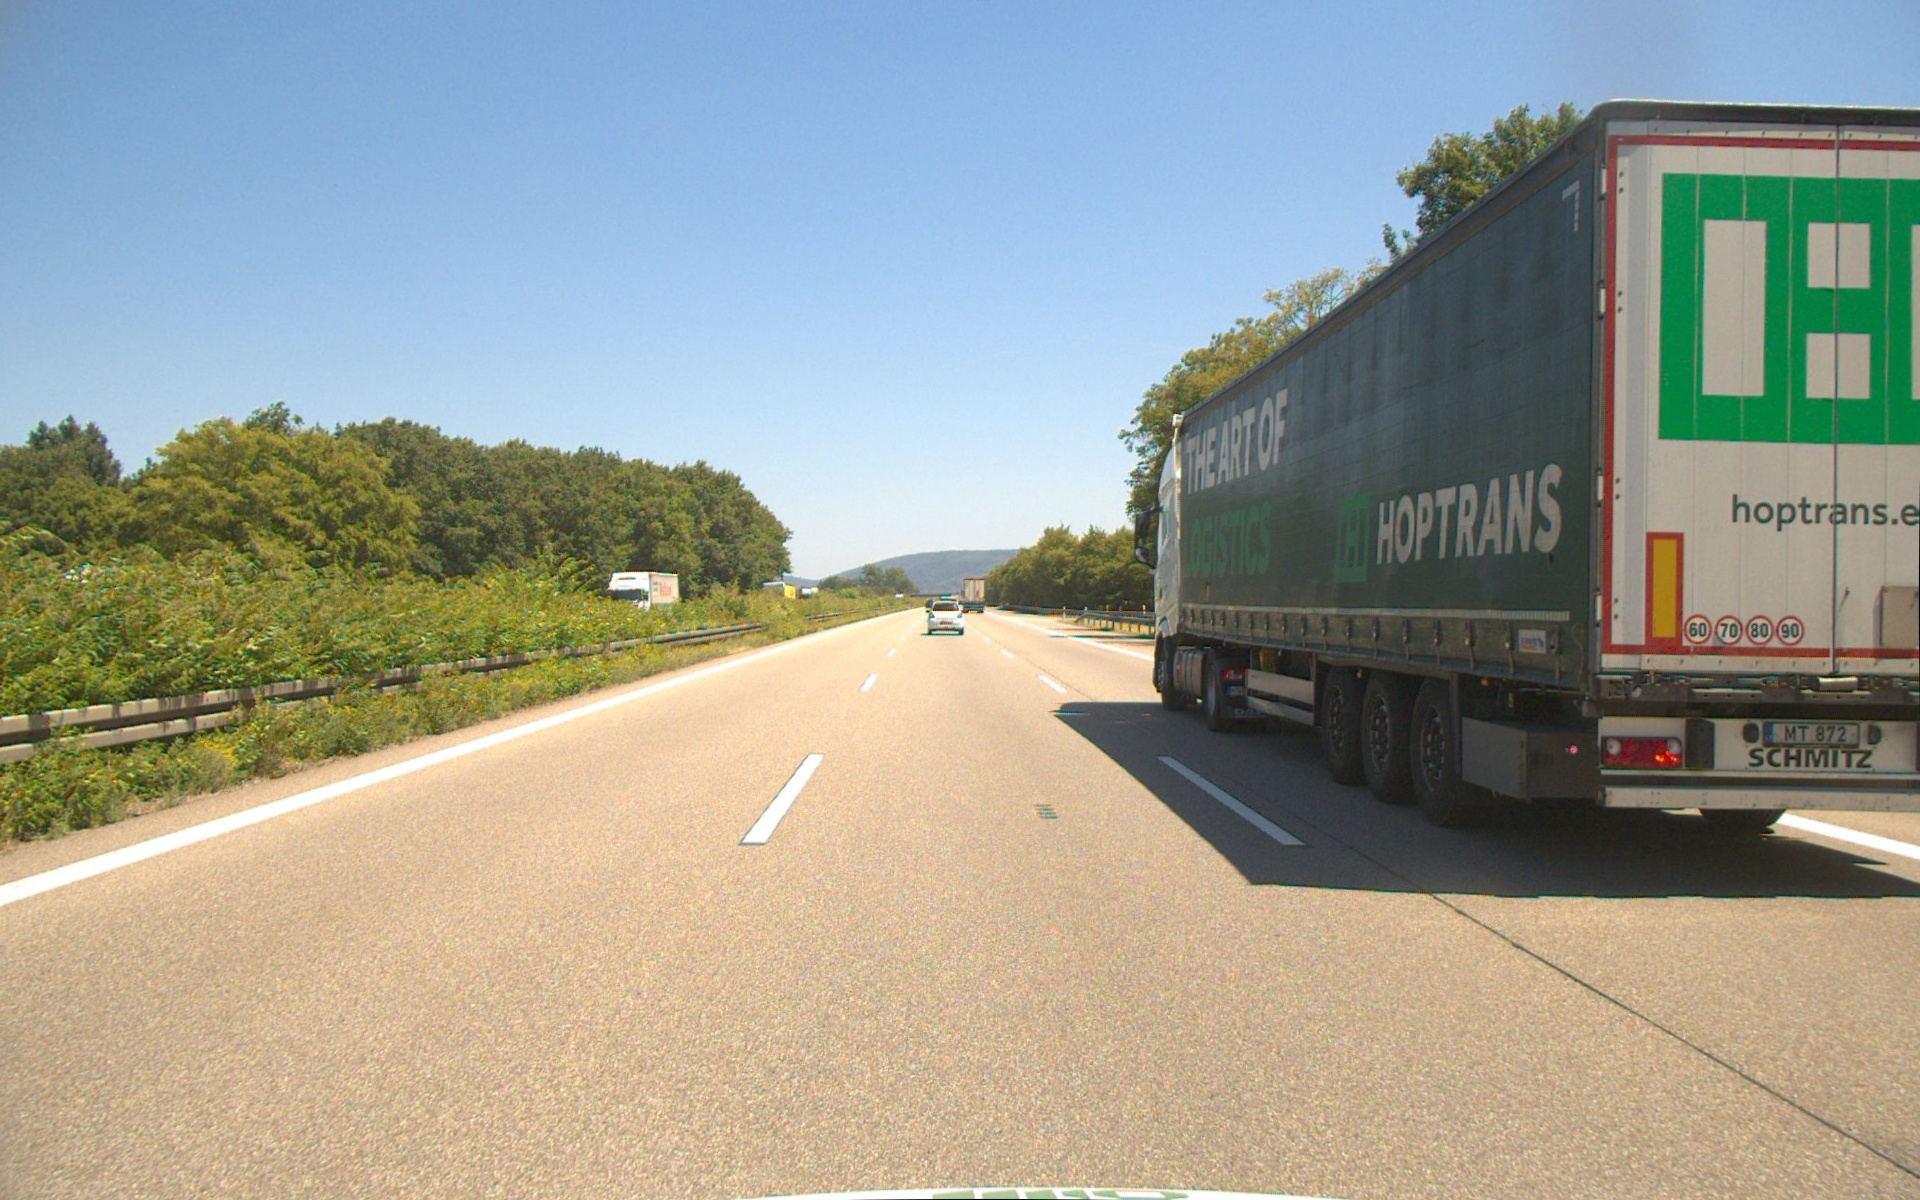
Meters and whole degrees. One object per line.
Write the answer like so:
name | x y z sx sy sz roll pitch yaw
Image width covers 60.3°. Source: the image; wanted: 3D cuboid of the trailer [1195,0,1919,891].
trailer | 4.513 -0.936 14.296 3.117 4.708 12.048 -1 0 -1

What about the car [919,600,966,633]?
car | -0.814 0.746 76.408 1.777 1.429 3.312 -1 0 -8

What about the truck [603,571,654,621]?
truck | -21.601 -0.262 107.951 2.521 3.199 4.263 0 0 -2

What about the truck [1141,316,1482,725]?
truck | 4.411 -0.932 22.175 3.118 4.688 5.946 -1 0 -1

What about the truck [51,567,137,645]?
truck | -45.126 0.314 86.281 2.207 3.938 3.804 -1 0 5

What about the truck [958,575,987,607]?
truck | 1.516 -1.070 204.873 3.257 3.822 12.793 0 0 -1

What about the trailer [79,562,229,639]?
trailer | -44.633 -0.001 92.059 2.242 3.938 10.713 -1 0 5
